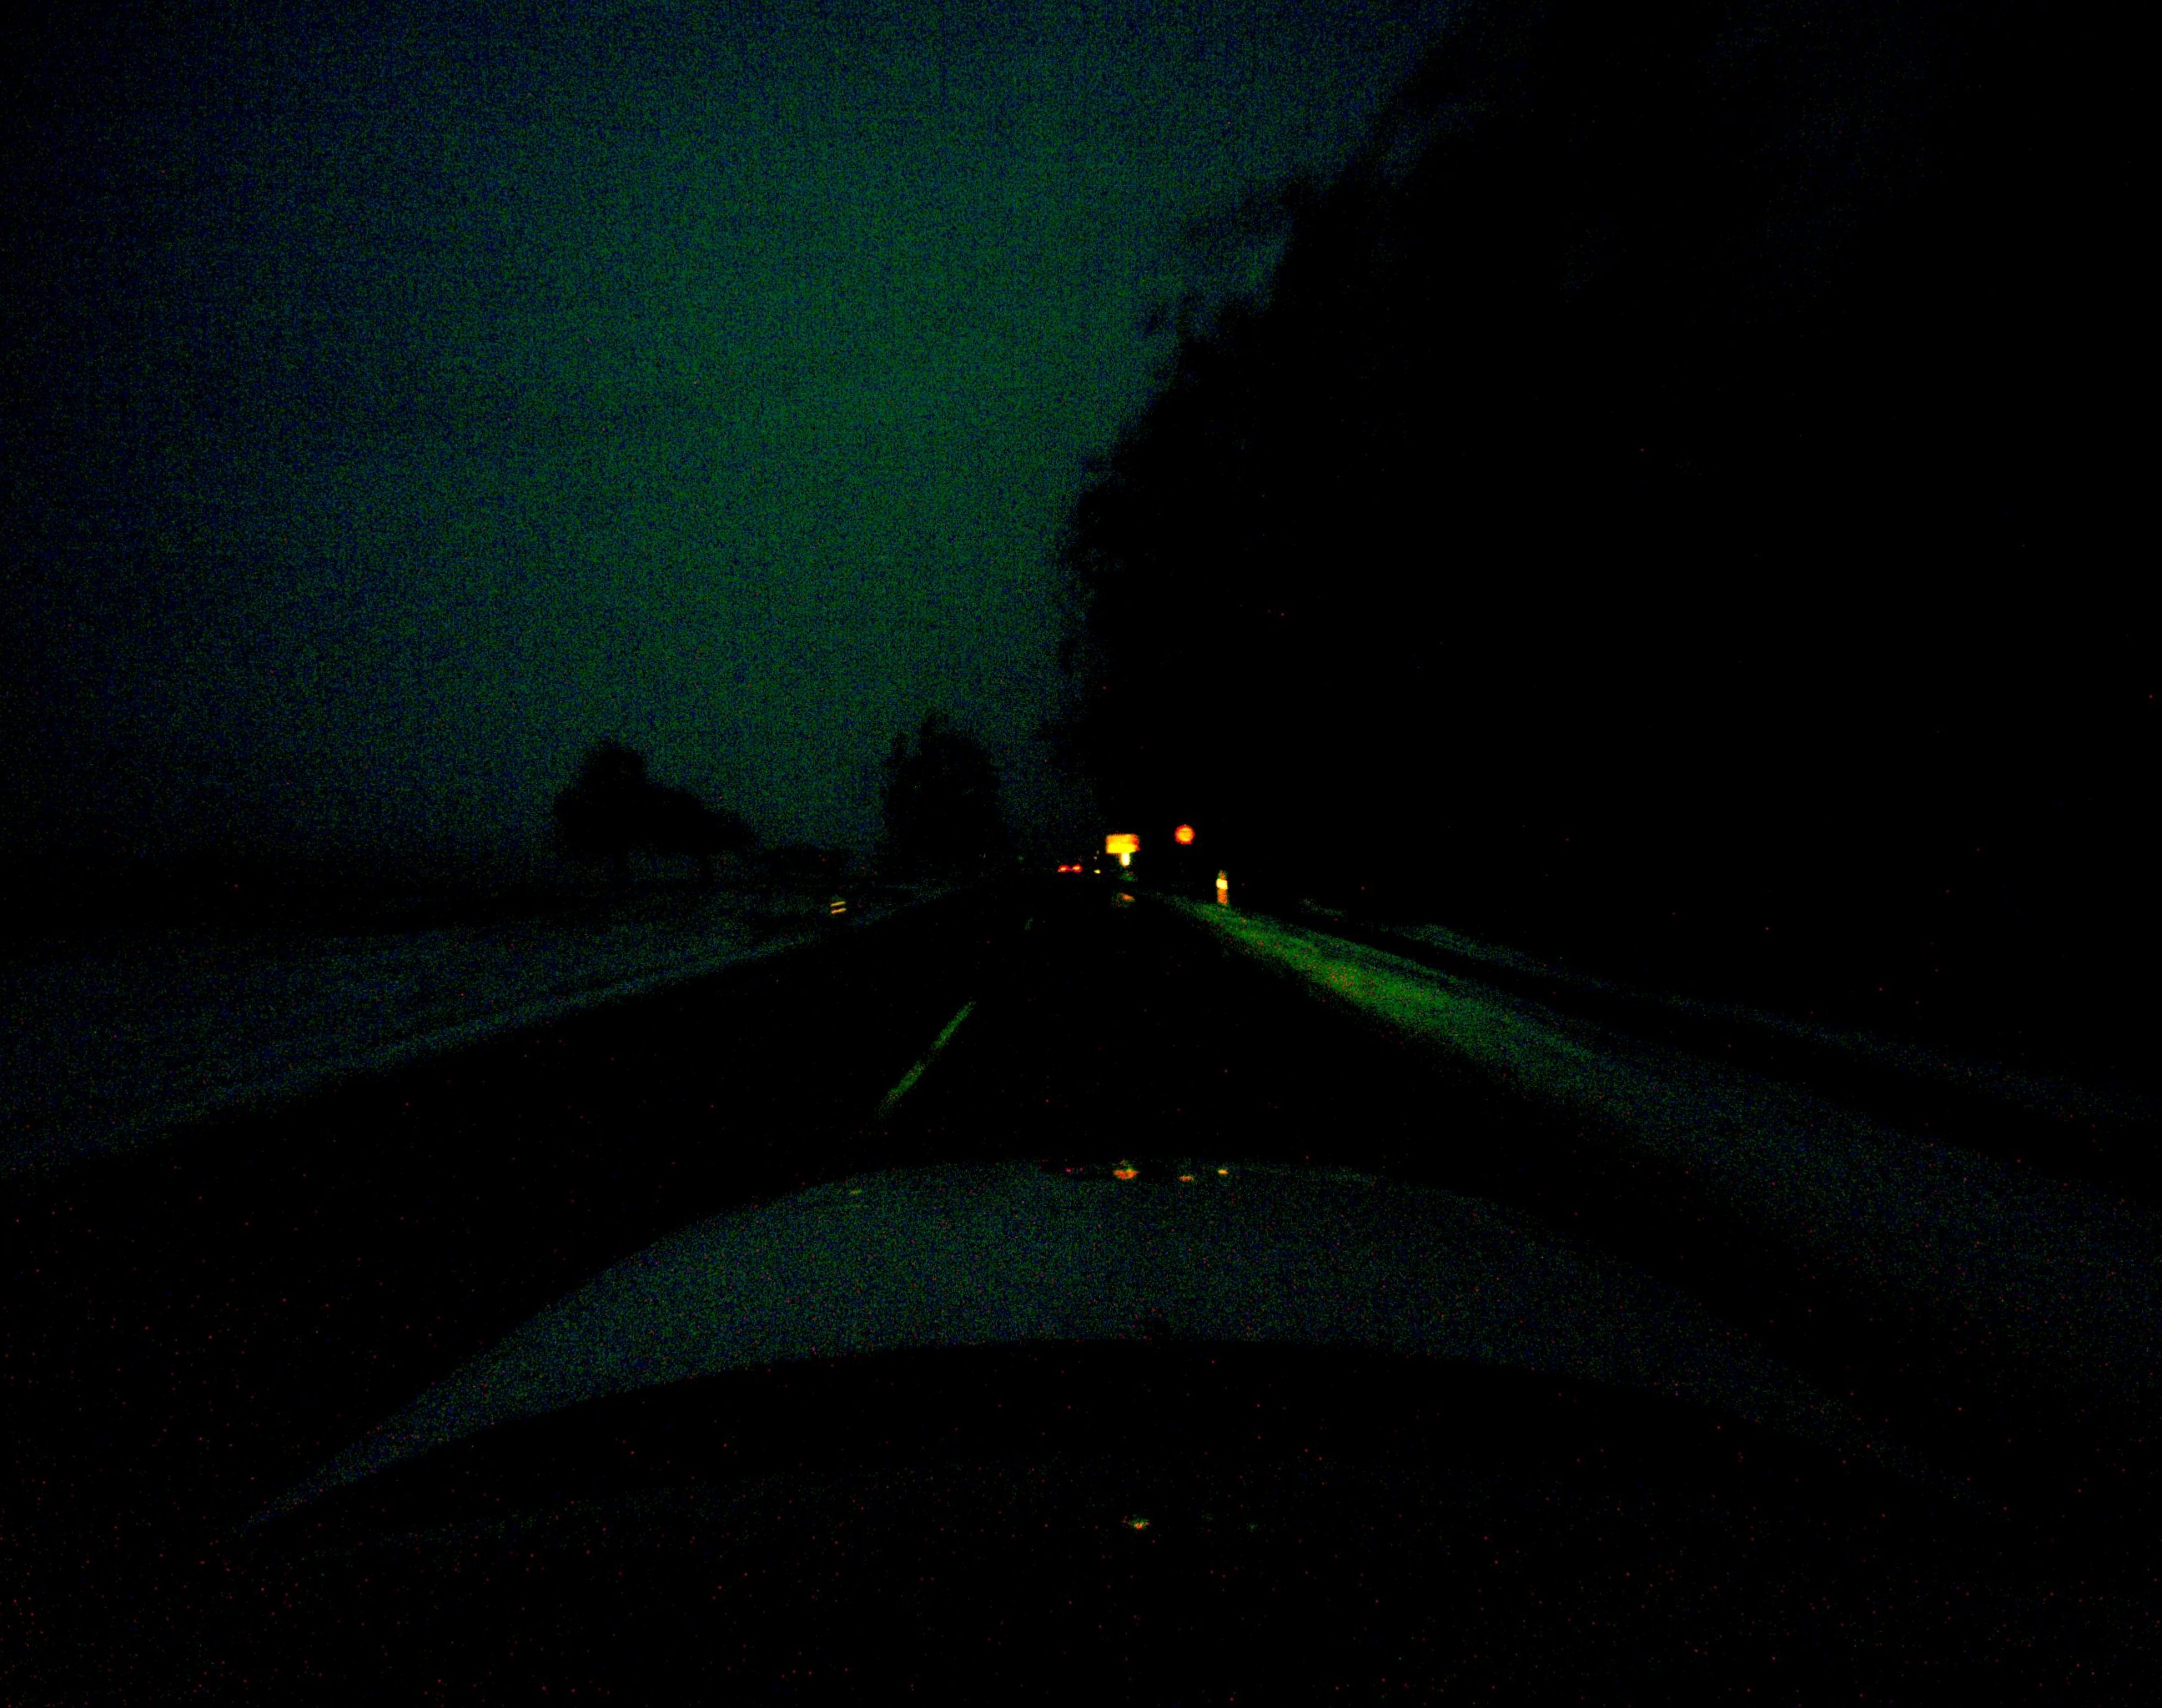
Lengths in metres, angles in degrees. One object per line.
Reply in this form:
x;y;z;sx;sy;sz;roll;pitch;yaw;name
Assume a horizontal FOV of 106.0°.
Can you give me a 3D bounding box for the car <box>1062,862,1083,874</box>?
-0.967;1.581;92.009;1.913;1.277;4.006;-2;0;5;car
